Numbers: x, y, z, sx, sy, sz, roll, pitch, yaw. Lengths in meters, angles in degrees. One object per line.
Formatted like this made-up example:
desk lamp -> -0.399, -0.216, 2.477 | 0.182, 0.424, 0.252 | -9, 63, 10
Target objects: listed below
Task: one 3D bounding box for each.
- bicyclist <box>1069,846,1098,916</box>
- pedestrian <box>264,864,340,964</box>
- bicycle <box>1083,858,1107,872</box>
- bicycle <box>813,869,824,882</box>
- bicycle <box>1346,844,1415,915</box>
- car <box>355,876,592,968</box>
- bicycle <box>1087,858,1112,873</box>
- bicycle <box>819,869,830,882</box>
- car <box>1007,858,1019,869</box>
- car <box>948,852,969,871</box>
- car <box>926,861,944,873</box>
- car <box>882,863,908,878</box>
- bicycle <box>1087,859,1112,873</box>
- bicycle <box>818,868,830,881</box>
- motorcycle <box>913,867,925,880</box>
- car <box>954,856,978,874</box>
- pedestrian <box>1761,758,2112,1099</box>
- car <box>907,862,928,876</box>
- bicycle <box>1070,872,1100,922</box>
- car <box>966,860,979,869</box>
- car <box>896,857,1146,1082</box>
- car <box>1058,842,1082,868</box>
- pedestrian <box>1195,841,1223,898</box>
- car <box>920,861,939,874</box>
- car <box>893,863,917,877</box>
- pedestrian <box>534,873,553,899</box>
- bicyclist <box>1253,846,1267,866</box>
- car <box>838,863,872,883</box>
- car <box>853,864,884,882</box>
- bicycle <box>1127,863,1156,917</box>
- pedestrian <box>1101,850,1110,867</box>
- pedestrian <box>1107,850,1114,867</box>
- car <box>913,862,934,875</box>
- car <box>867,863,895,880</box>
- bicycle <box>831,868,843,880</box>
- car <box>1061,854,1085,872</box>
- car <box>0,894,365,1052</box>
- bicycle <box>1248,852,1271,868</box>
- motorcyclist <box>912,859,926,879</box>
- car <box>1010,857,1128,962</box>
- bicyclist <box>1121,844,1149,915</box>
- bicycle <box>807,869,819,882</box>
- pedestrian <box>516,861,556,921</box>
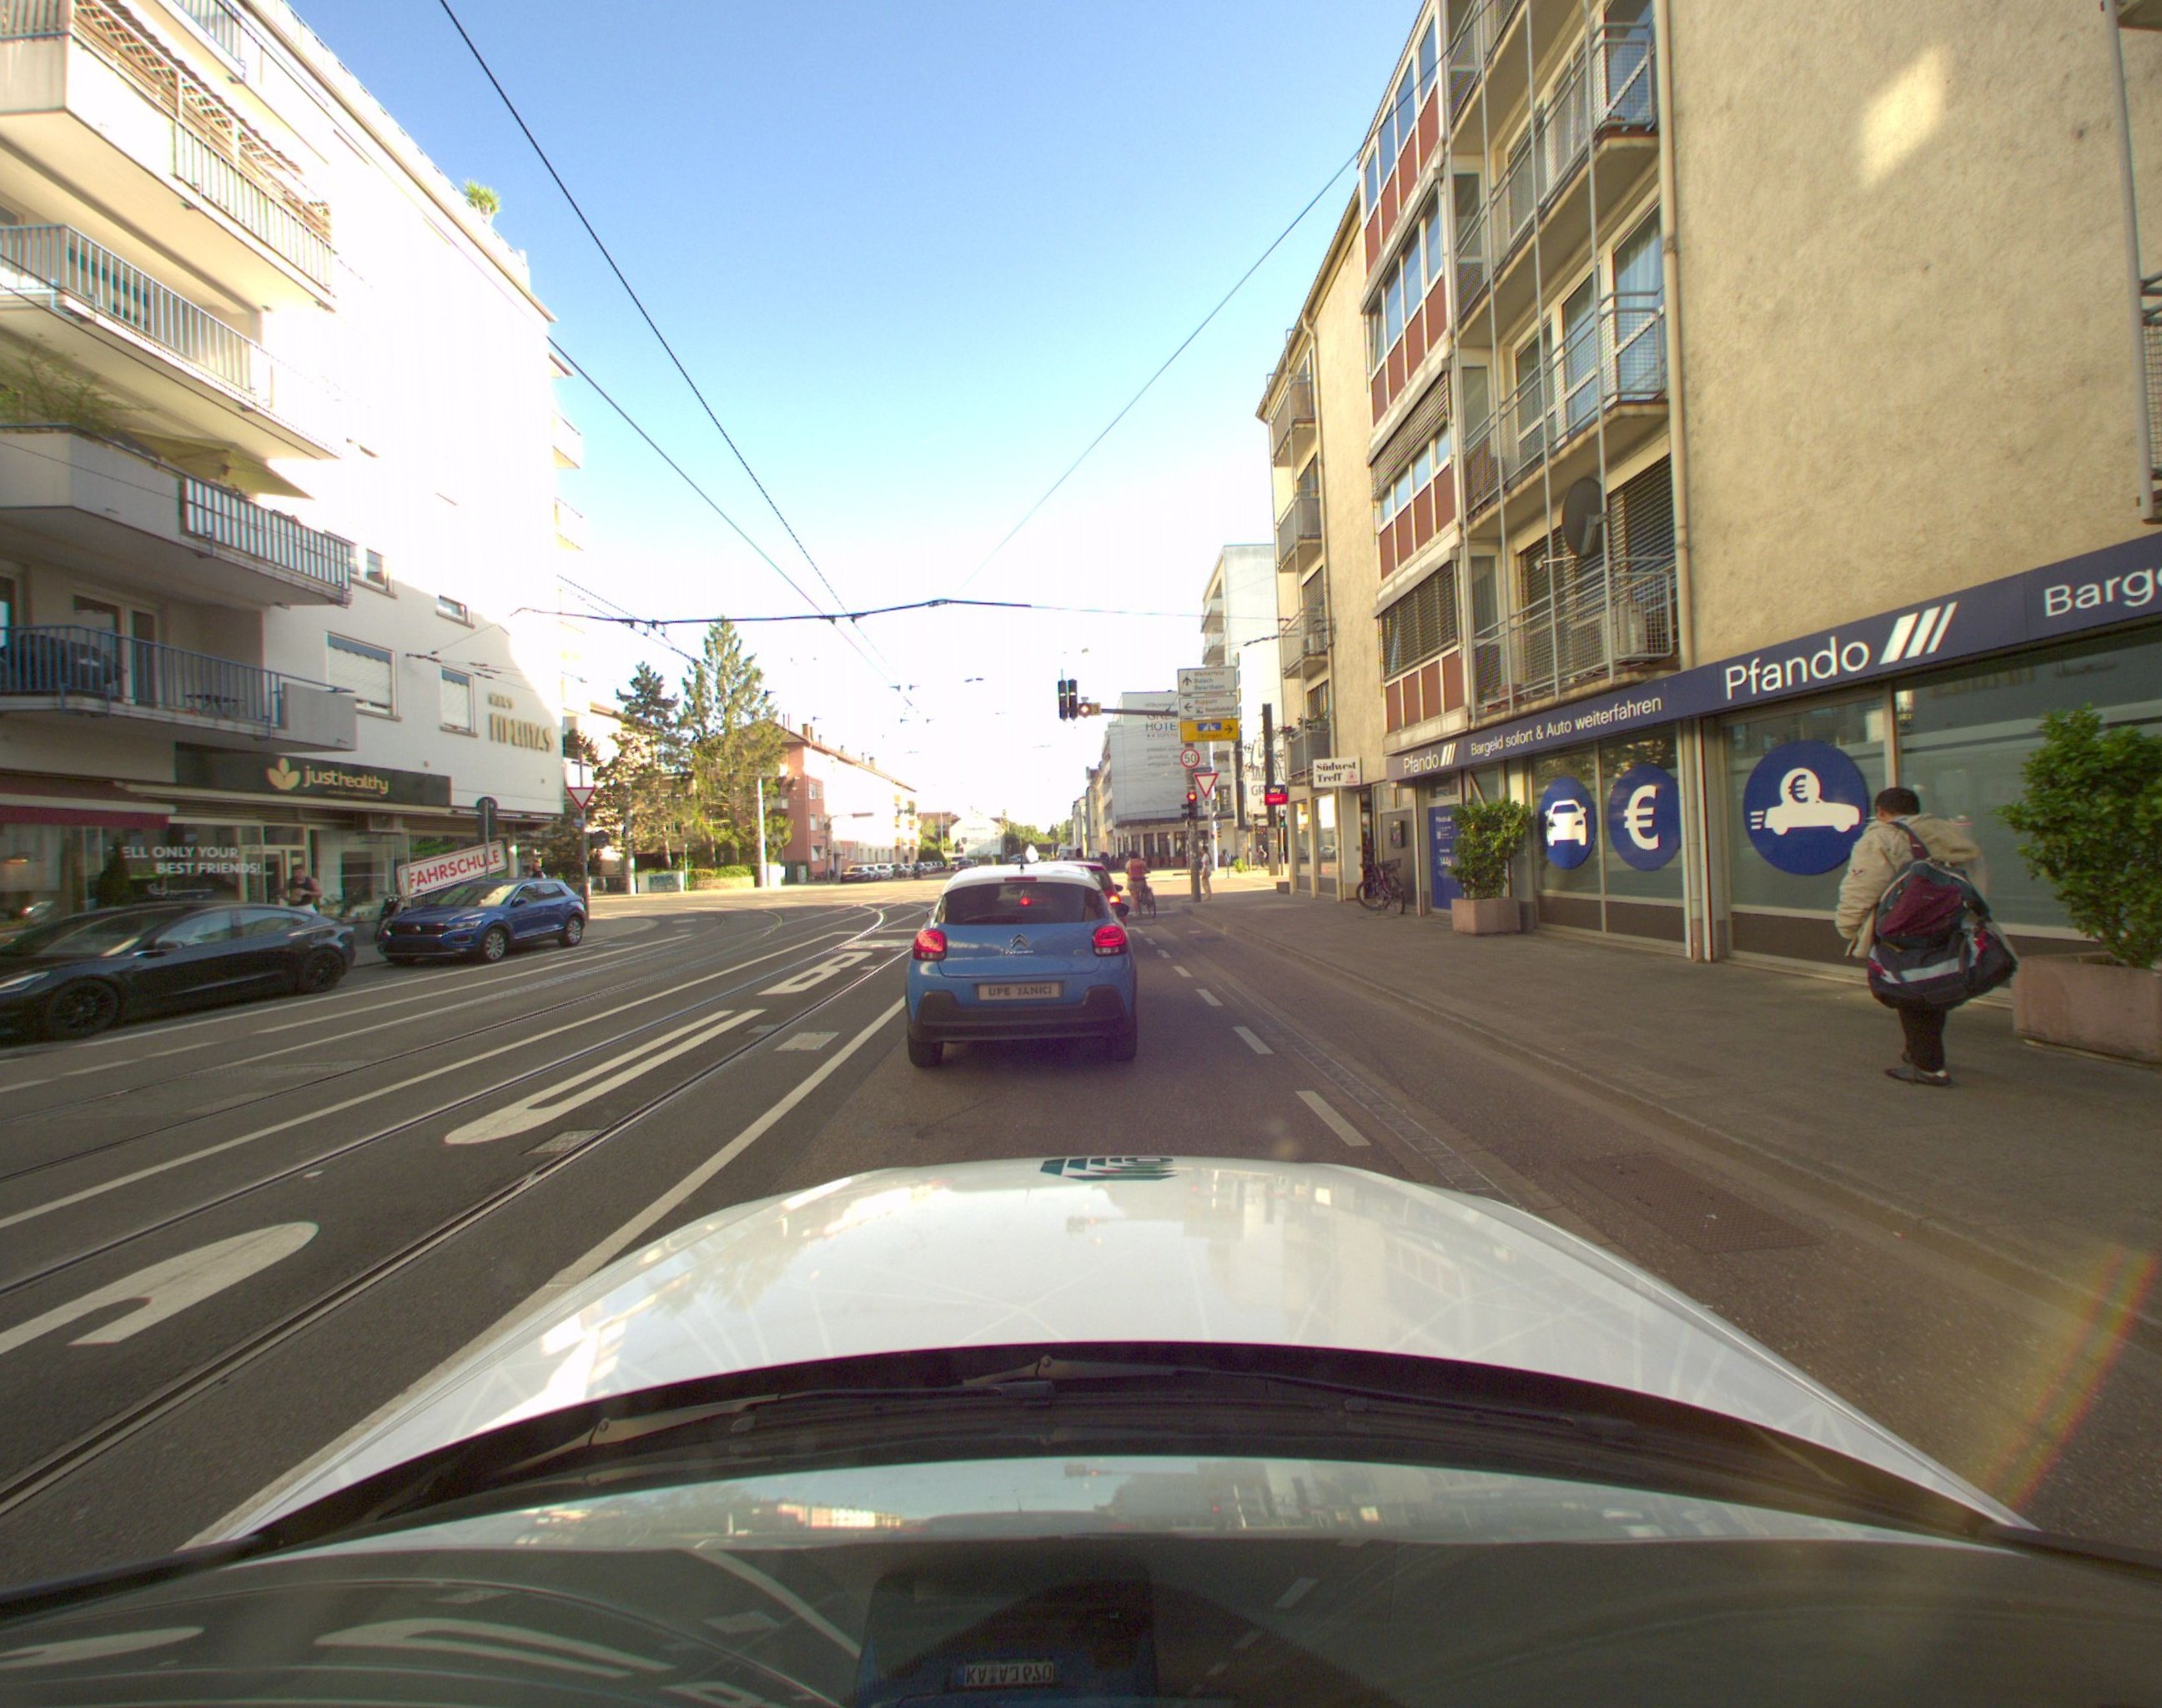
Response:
bicyclist -> 0.047, 0.644, 19.775 | 0.615, 1.630, 0.759 | -2, 0, -2
pedestrian -> -15.012, 1.137, 15.717 | 0.748, 1.857, 0.672 | -2, 0, 4
bicycle -> 1.157, 0.951, 68.455 | 1.901, 1.064, 0.641 | -2, 0, -6
bicycle -> -21.977, 1.793, 68.197 | 0.537, 1.082, 1.905 | -2, 0, -9
bicycle -> 5.759, 0.454, 15.751 | 0.637, 1.264, 1.911 | -2, 0, 2
car -> -11.878, 1.242, 16.336 | 1.720, 1.505, 4.113 | 0, 0, -2
bicycle -> 1.514, 0.928, 65.947 | 1.901, 1.064, 0.641 | -2, 0, -6
bicycle -> -21.598, 1.793, 68.482 | 0.537, 1.082, 1.905 | -2, 0, -9
car -> -14.274, 1.979, 171.421 | 2.333, 2.039, 5.044 | -2, 0, -4
car -> -18.132, 1.103, 120.586 | 2.489, 2.712, 5.828 | -2, 0, -5
car -> -20.730, 1.851, 115.693 | 1.947, 1.519, 3.995 | -2, 0, -4
car -> -19.733, 1.738, 86.538 | 1.947, 1.519, 3.995 | -2, 0, -4
bicycle -> 1.523, 0.959, 67.253 | 1.901, 1.064, 0.641 | -2, 0, -6
bicycle -> -23.052, 1.841, 73.116 | 0.536, 1.082, 1.908 | -2, 0, -4
motorcycle -> -13.486, 1.596, 67.771 | 0.751, 0.976, 2.092 | -2, 0, -7
car -> -11.312, 1.087, 80.686 | 2.002, 1.627, 5.044 | -2, 0, -5
pedestrian -> 4.466, 0.352, 4.337 | 0.871, 1.571, 0.868 | -4, 0, -1
car -> -19.856, 1.784, 99.035 | 1.947, 1.519, 3.995 | -2, 0, -4
bicycle -> 0.077, 1.020, 19.877 | 0.615, 1.103, 1.884 | -2, 0, -2
car -> -19.344, 1.816, 145.254 | 1.947, 1.519, 3.995 | -2, 0, -4
car -> -0.452, 0.788, 7.510 | 1.675, 1.462, 3.997 | -1, 0, -2
car -> -1.041, 0.084, 73.458 | 2.074, 2.269, 5.647 | -1, 0, -2
pedestrian -> 3.830, 0.451, 24.361 | 0.747, 1.635, 0.742 | -2, 0, 7
car -> -20.303, 1.772, 109.338 | 1.947, 1.519, 3.995 | -2, 0, -4
car -> -19.985, 1.789, 92.606 | 1.947, 1.519, 3.995 | -2, 0, -4
pedestrian -> -36.887, 2.173, 55.912 | 0.805, 1.702, 0.681 | -2, 0, 1
bicyclist -> 12.792, 0.144, 58.181 | 0.720, 1.434, 0.609 | -3, 0, 39
car -> -19.293, 1.599, 69.630 | 1.947, 1.519, 3.995 | -2, 0, -4
car -> -19.574, 1.717, 75.253 | 1.947, 1.519, 4.040 | -2, 0, -4
bicycle -> 1.533, 0.884, 20.738 | 0.611, 1.264, 1.911 | -2, 0, 2
pedestrian -> 2.101, 0.394, 70.391 | 0.520, 1.420, 0.550 | -3, 0, 22
pedestrian -> 2.521, 0.377, 70.129 | 0.467, 1.420, 0.524 | -2, 0, -11
car -> -20.102, 1.799, 104.049 | 1.947, 1.519, 3.995 | -2, 0, -4
car -> -19.563, 1.683, 79.865 | 1.947, 1.519, 3.995 | -2, 0, -4
bicycle -> -22.719, 1.859, 75.812 | 0.608, 1.082, 1.908 | -2, 0, -4
car -> -0.718, 0.740, 67.997 | 1.783, 1.359, 3.909 | -2, 0, -4
car -> -11.983, 1.329, 10.433 | 1.720, 1.403, 4.486 | 0, 0, -2
bicycle -> 12.767, 0.447, 58.194 | 1.474, 1.091, 0.609 | -3, 0, 39
motorcyclist -> -13.477, 1.268, 67.704 | 0.990, 1.631, 0.737 | -2, 0, -7
car -> -0.226, 0.808, 13.719 | 1.675, 1.462, 3.997 | -1, 0, -2
bicyclist -> 1.369, 0.630, 20.705 | 0.598, 1.746, 1.084 | -2, 0, 2
bicycle -> -22.383, 1.793, 68.087 | 0.640, 1.082, 1.905 | -2, 0, -9
pedestrian -> -17.320, 1.170, 25.873 | 0.761, 1.834, 0.725 | -3, 0, 28
